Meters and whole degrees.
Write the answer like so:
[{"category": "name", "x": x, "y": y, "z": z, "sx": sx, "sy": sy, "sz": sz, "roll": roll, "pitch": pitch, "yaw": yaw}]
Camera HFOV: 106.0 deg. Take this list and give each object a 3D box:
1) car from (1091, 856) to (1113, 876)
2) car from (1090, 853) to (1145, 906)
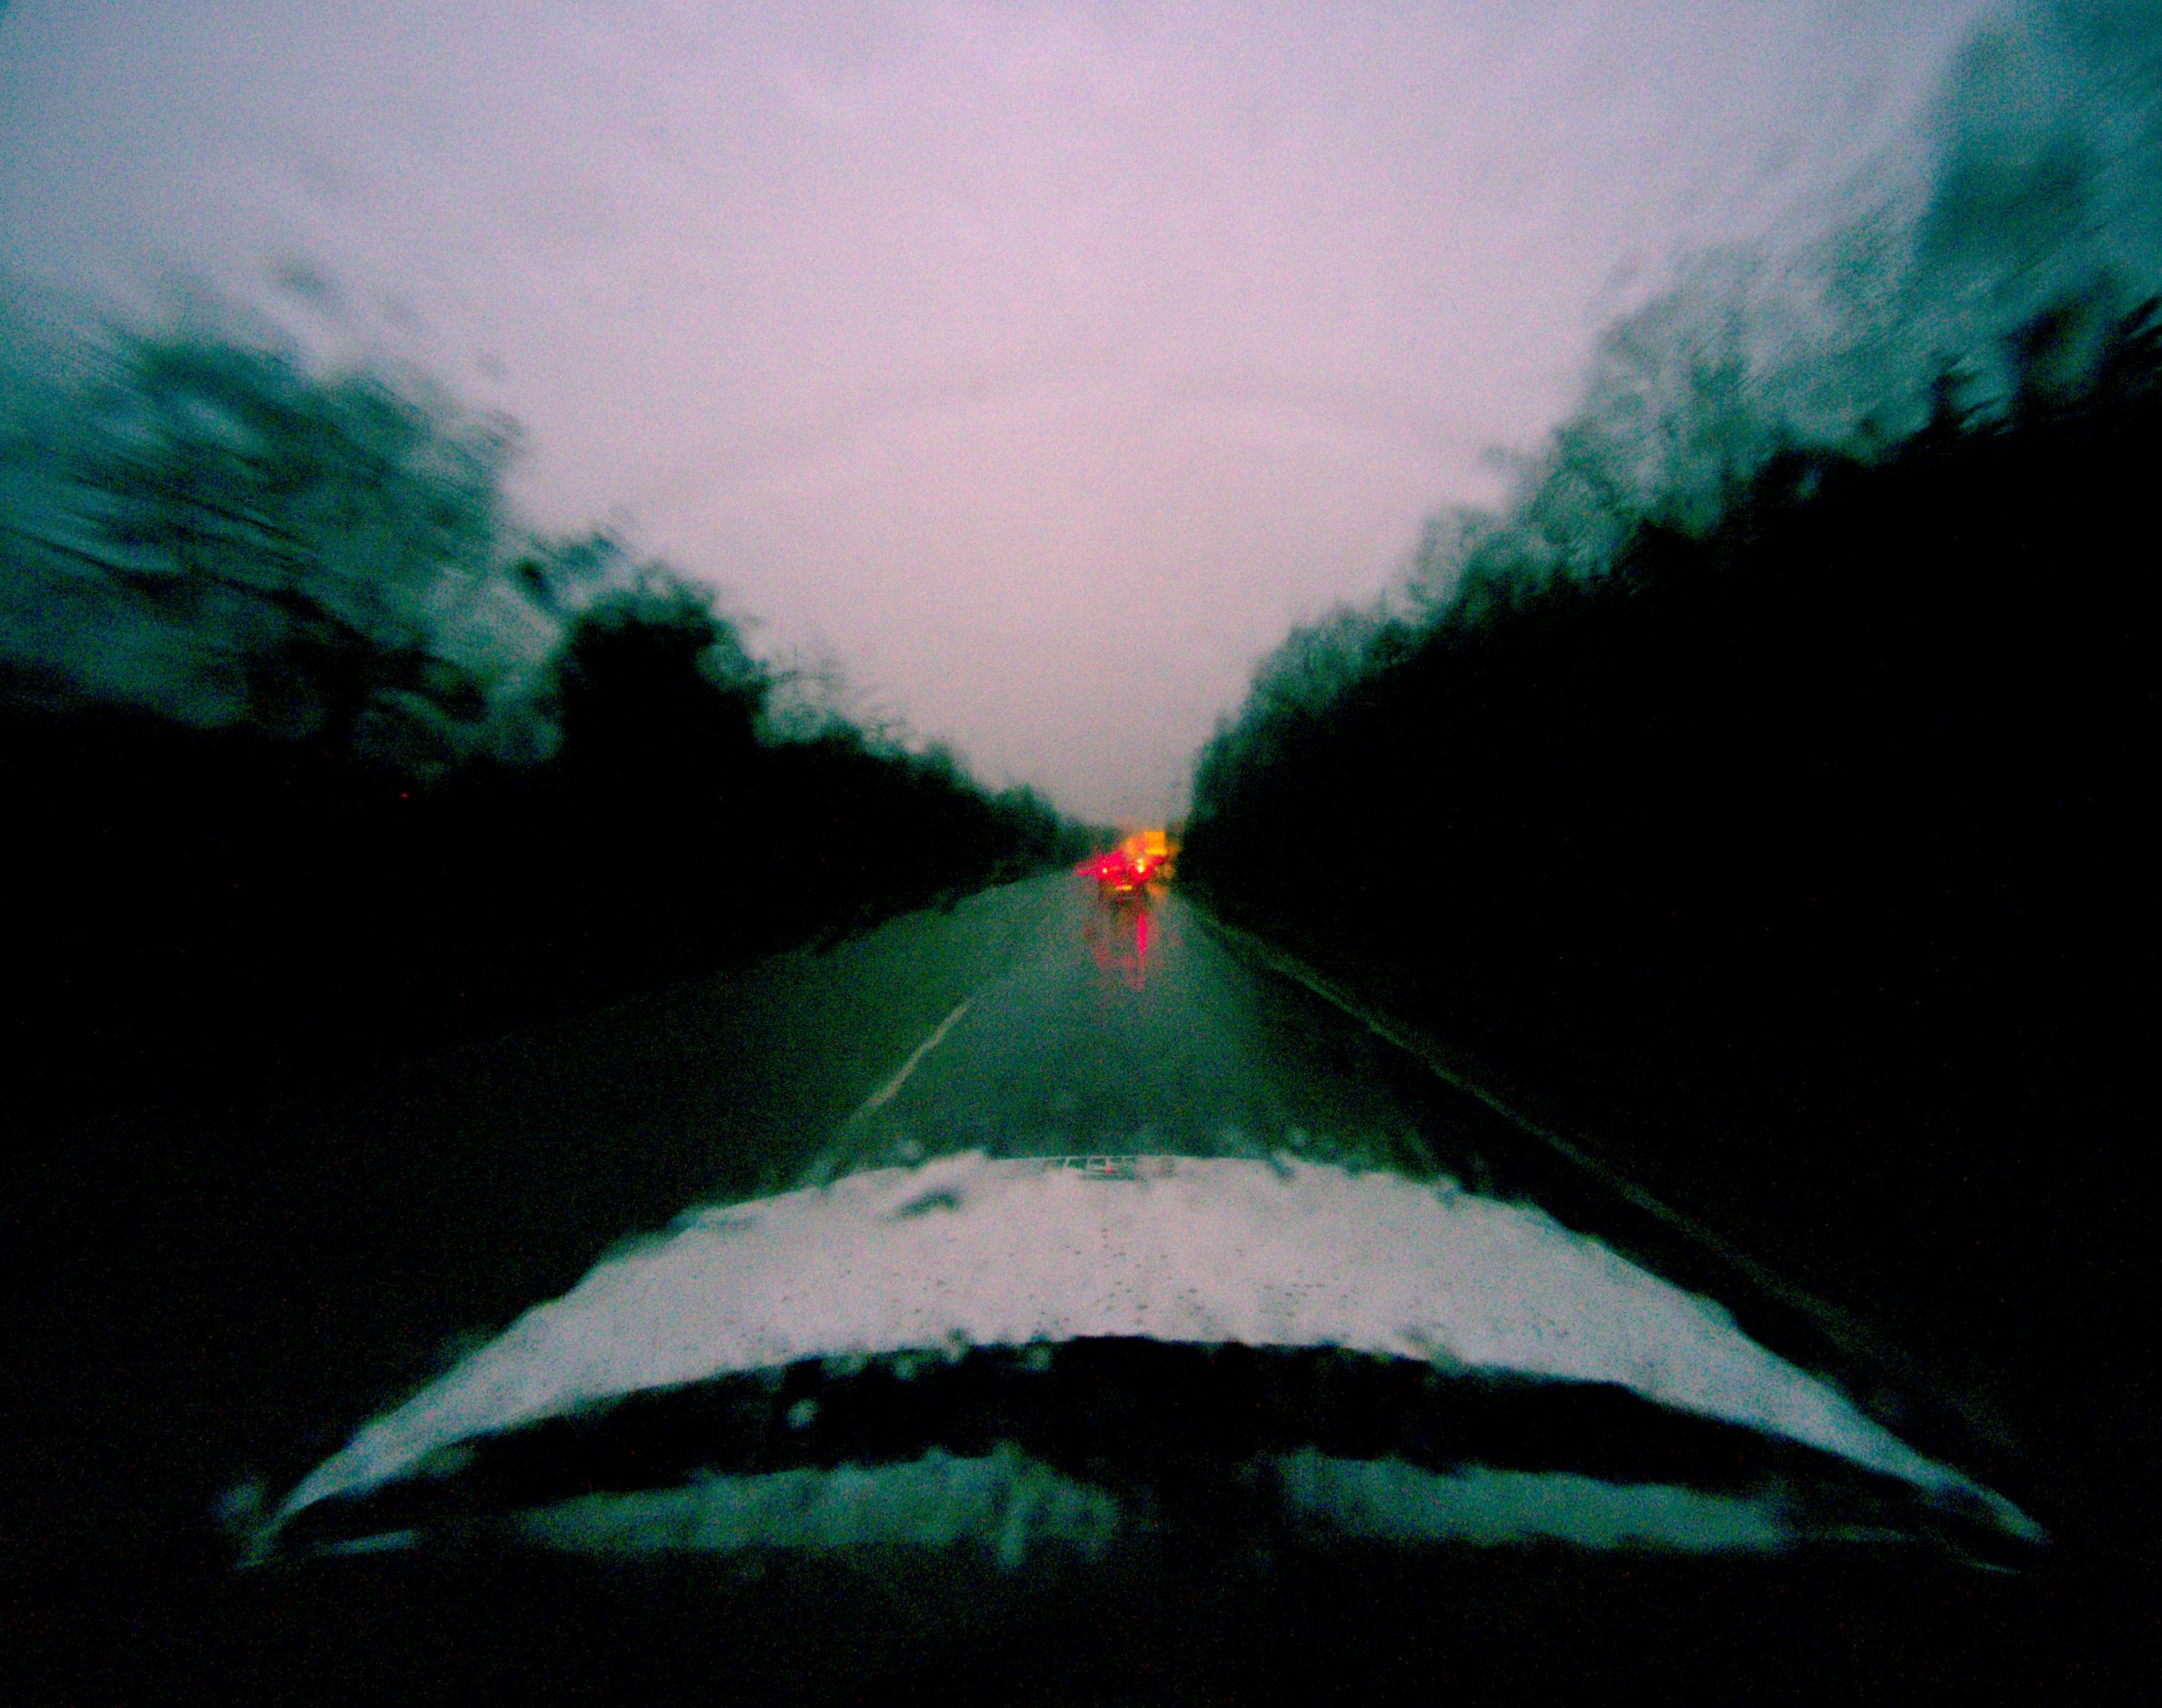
[{"category": "car", "x": 1.831, "y": 1.011, "z": 69.762, "sx": 1.720, "sy": 1.643, "sz": 4.003, "roll": -1, "pitch": 0, "yaw": 3}, {"category": "car", "x": 1.260, "y": 0.814, "z": 28.008, "sx": 1.720, "sy": 1.643, "sz": 4.003, "roll": -1, "pitch": 0, "yaw": 3}]
